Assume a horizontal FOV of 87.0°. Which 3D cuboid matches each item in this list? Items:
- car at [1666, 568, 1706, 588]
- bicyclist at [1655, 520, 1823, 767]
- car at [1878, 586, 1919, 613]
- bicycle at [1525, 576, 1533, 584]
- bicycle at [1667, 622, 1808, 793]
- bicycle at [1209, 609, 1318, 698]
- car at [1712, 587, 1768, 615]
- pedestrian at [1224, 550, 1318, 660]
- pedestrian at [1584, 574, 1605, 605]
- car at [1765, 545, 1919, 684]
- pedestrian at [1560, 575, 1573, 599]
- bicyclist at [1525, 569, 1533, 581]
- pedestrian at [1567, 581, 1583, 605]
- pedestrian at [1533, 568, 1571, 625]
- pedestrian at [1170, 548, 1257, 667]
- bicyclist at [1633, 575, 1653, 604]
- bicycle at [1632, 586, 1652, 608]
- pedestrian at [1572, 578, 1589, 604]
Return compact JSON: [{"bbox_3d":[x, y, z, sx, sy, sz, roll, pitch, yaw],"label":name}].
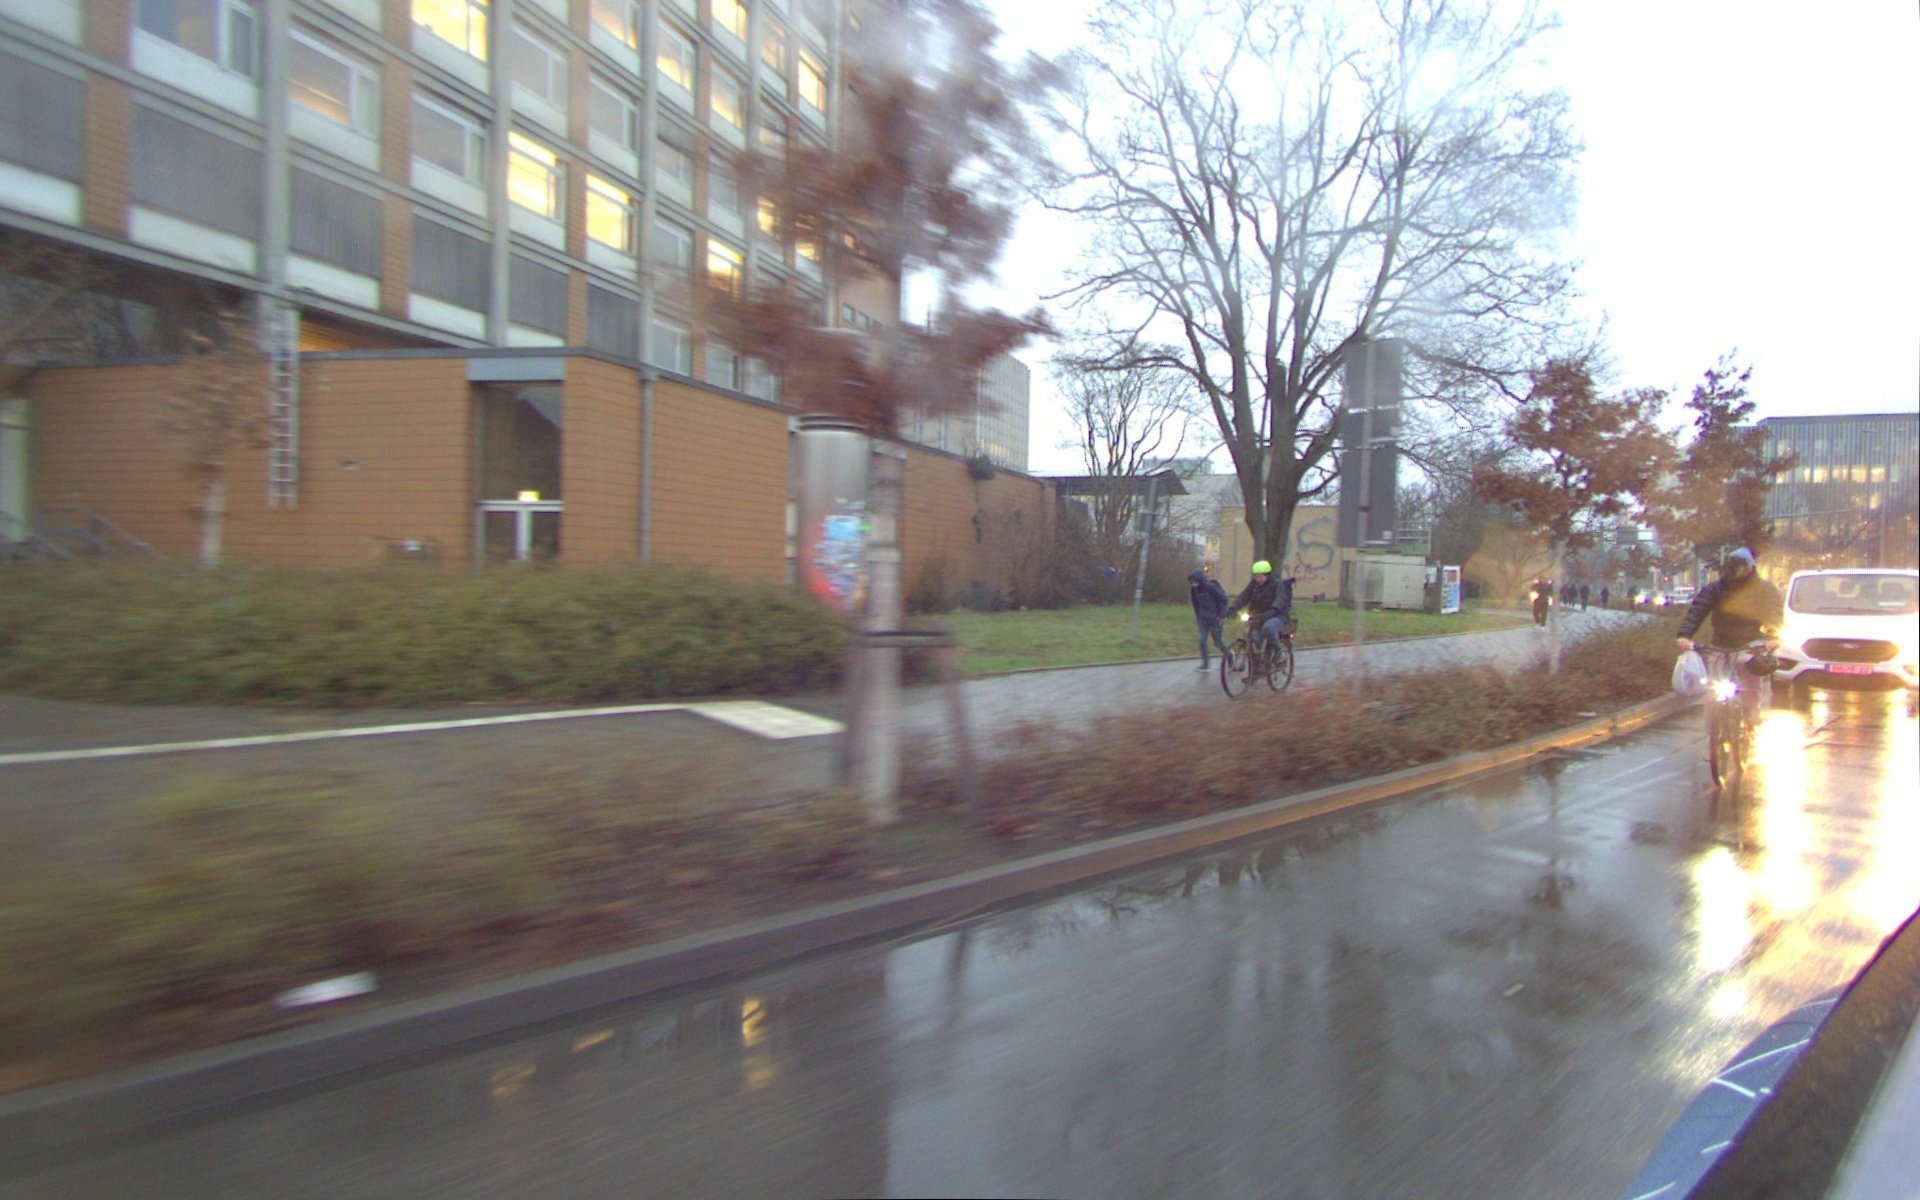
[{"bbox_3d":[62.956,-1.939,87.831,1.981,1.586,4.719,4,3,26],"label":"car"},{"bbox_3d":[6.656,0.327,8.635,1.024,1.907,1.216,0,0,43],"label":"bicyclist"},{"bbox_3d":[53.169,-0.009,56.316,1.913,1.393,4.458,2,2,27],"label":"car"},{"bbox_3d":[73.192,-2.580,130.163,0.787,1.028,2.877,2,3,27],"label":"bicycle"},{"bbox_3d":[6.664,0.835,8.635,0.792,1.238,1.874,0,0,43],"label":"bicycle"},{"bbox_3d":[3.872,0.634,12.804,0.561,0.958,2.066,3,3,39],"label":"bicycle"},{"bbox_3d":[46.450,0.006,60.332,1.757,1.505,4.430,2,2,26],"label":"car"},{"bbox_3d":[3.960,0.041,12.881,0.873,1.333,0.837,3,2,37],"label":"pedestrian"},{"bbox_3d":[38.634,-0.645,61.634,0.924,1.848,0.826,2,2,27],"label":"pedestrian"},{"bbox_3d":[14.741,0.260,16.357,4.934,1.945,2.133,3,0,-45],"label":"car"},{"bbox_3d":[52.300,-1.127,87.268,0.758,2.038,0.903,2,2,26],"label":"pedestrian"},{"bbox_3d":[73.200,-3.163,130.141,0.760,1.508,0.985,2,2,27],"label":"bicyclist"},{"bbox_3d":[48.426,-0.582,79.720,0.924,1.848,0.826,2,2,27],"label":"pedestrian"},{"bbox_3d":[18.771,-0.107,32.087,0.906,1.708,0.917,4,1,32],"label":"pedestrian"},{"bbox_3d":[3.854,0.090,15.391,0.808,1.708,1.053,4,3,44],"label":"pedestrian"},{"bbox_3d":[40.050,-0.625,59.380,0.800,1.637,1.073,5,3,32],"label":"bicyclist"},{"bbox_3d":[39.969,-0.195,59.297,0.800,1.155,2.189,5,4,32],"label":"bicycle"},{"bbox_3d":[45.807,-0.668,74.735,0.924,1.848,0.826,2,2,27],"label":"pedestrian"}]
